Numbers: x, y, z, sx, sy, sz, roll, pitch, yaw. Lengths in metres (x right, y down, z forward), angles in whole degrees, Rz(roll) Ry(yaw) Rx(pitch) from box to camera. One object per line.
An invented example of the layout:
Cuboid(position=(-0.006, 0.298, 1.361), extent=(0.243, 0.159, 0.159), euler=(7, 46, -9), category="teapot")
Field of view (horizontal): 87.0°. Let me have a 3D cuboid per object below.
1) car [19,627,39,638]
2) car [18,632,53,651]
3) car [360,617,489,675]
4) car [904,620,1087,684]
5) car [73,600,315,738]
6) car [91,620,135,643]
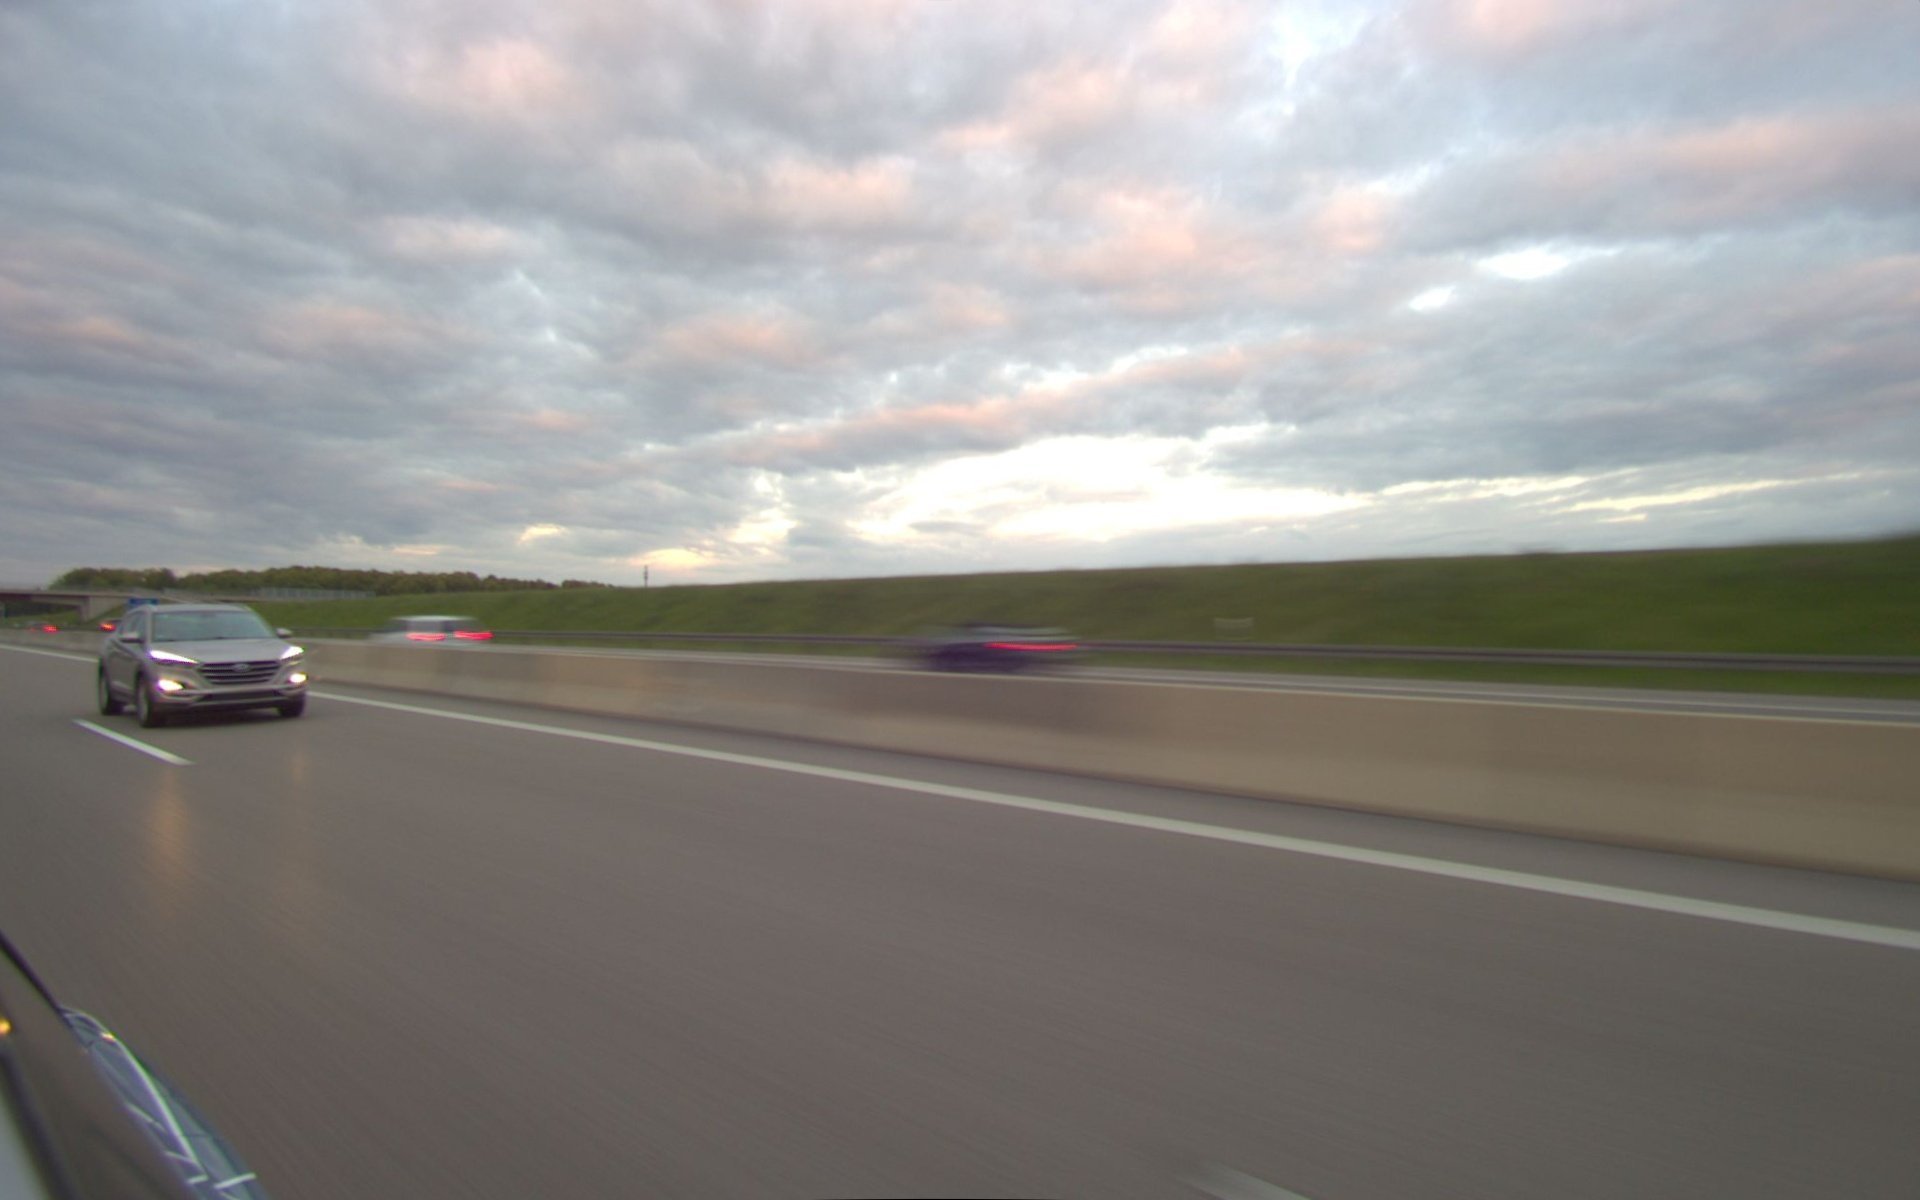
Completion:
Cuboid(position=(-133.215, 4.595, 144.753), extent=(4.424, 1.529, 1.614), euler=(-2, -1, 41), category="car")
Cuboid(position=(-78.400, 3.480, 85.837), extent=(4.128, 1.510, 1.720), euler=(-1, -1, 41), category="car")
Cuboid(position=(-17.526, 1.439, 32.986), extent=(5.179, 1.748, 1.973), euler=(-1, -1, 41), category="car")
Cuboid(position=(0.794, 1.198, 24.540), extent=(4.340, 1.403, 1.721), euler=(-1, -1, 41), category="car")
Cuboid(position=(-11.531, 0.892, 15.052), extent=(5.510, 1.705, 1.833), euler=(-1, -1, 42), category="car")
Cuboid(position=(-71.061, 2.627, 84.897), extent=(5.018, 1.824, 2.078), euler=(-1, -1, 41), category="car")
